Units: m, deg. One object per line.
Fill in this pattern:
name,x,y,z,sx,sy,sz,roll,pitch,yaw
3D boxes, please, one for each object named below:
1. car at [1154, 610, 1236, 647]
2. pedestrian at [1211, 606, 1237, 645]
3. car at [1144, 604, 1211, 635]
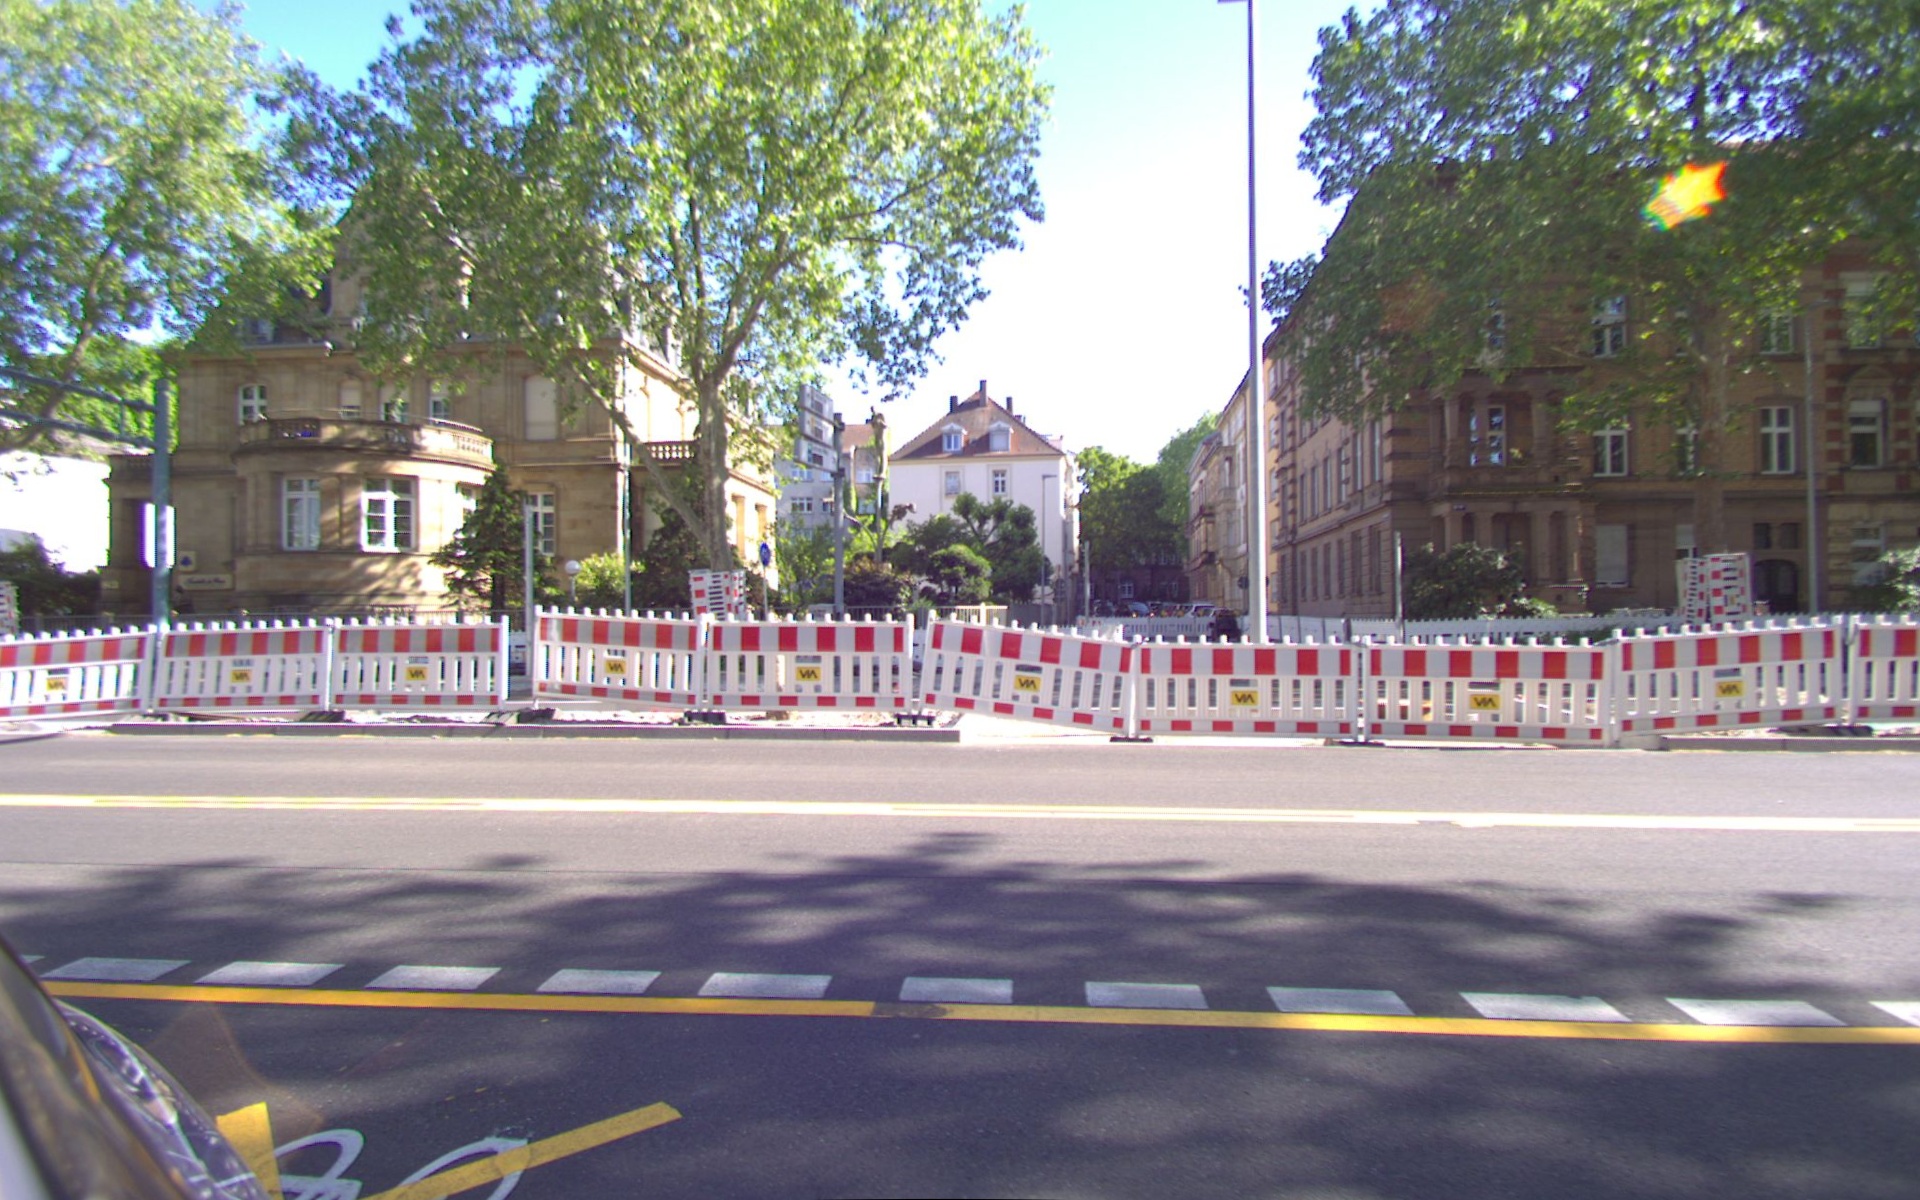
car,11.572,1.397,49.967,3.759,1.749,1.618,-1,-1,9
pedestrian,11.614,1.129,44.611,0.747,1.673,0.830,0,-2,-19
car,12.901,1.177,60.224,3.759,1.749,1.618,-1,-1,9
